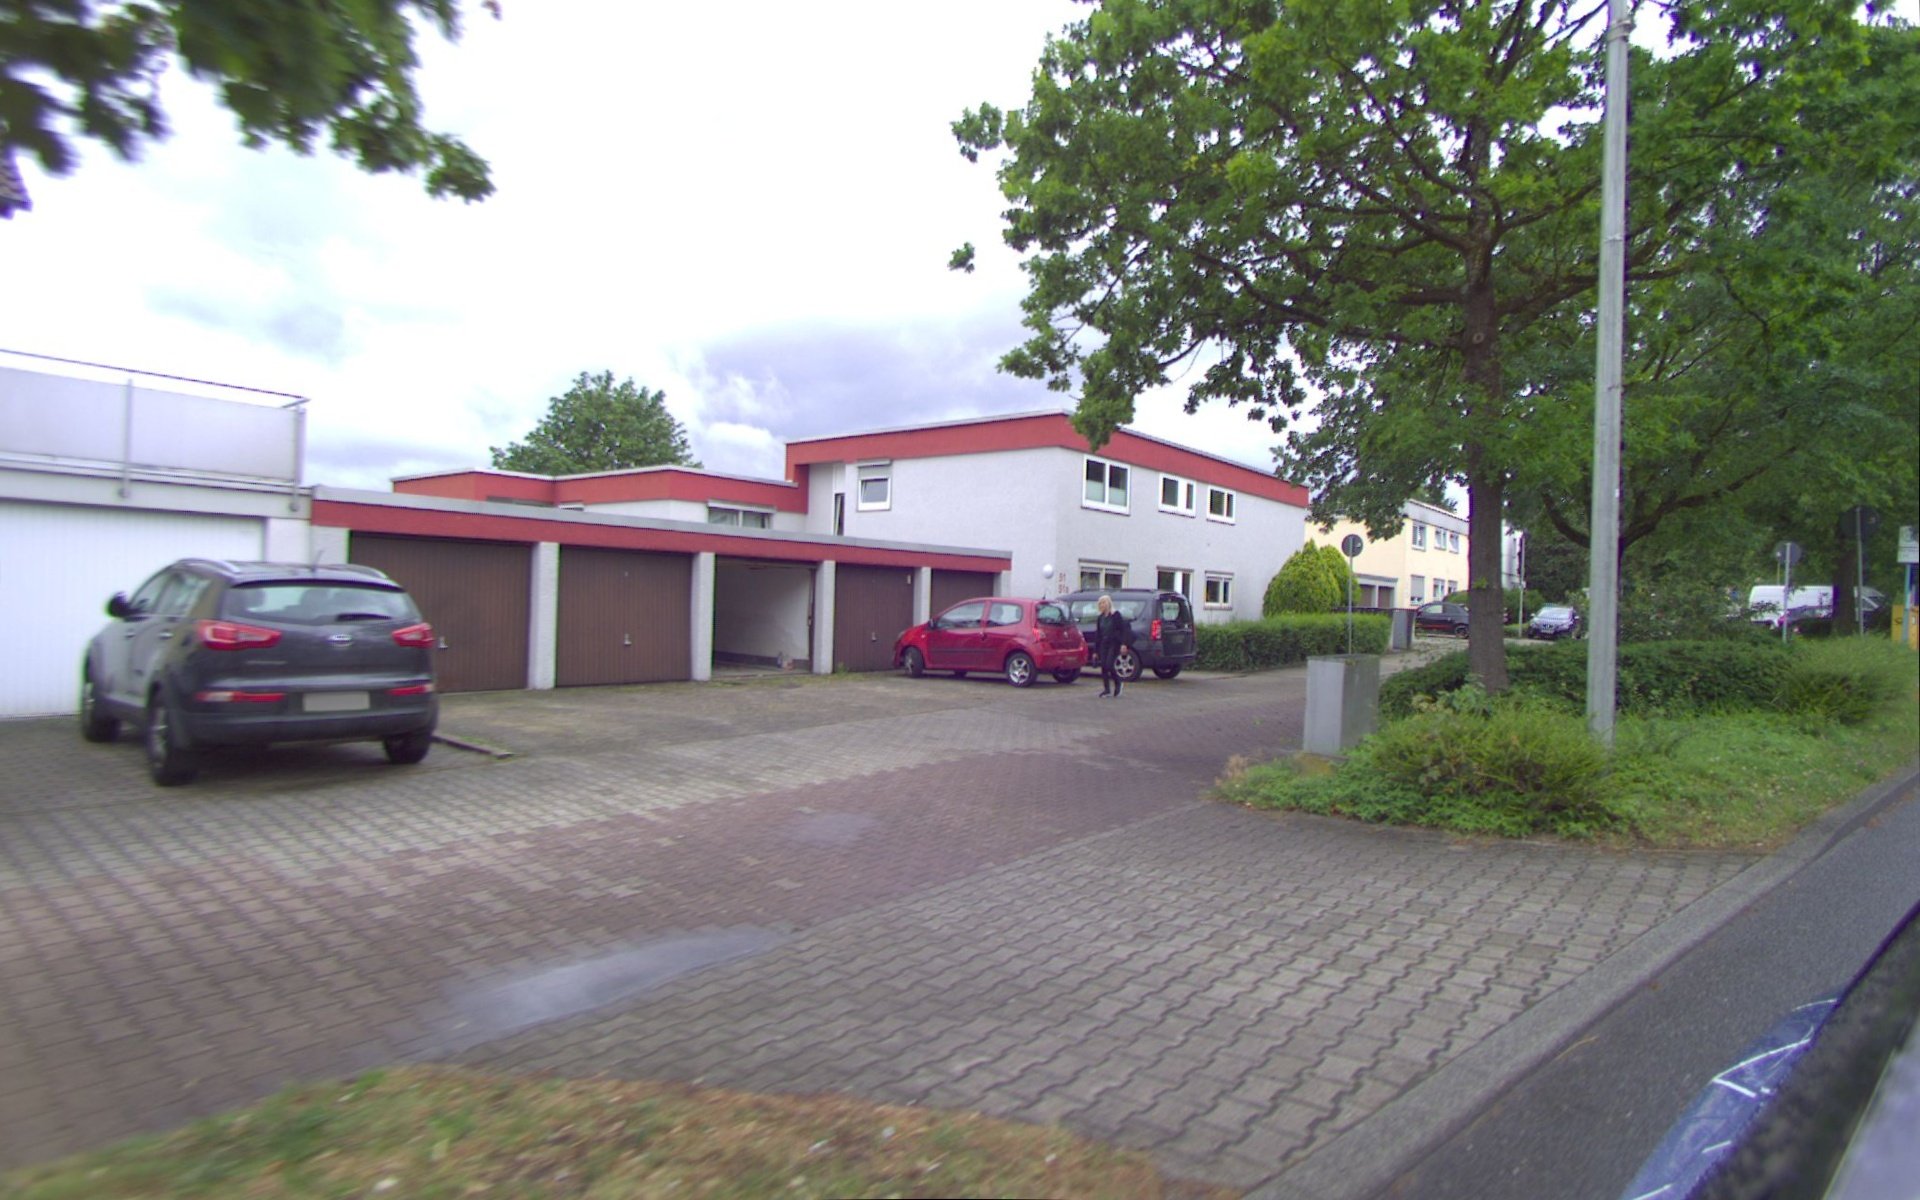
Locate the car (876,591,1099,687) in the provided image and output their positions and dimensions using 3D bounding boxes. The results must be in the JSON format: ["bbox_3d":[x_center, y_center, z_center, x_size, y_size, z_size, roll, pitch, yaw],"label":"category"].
[{"bbox_3d":[0.430,0.602,17.886,3.685,1.460,1.683,2,1,38],"label":"car"}]

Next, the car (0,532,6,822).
[{"bbox_3d":[-7.784,0.483,6.335,4.161,1.693,1.701,-1,-1,33],"label":"car"}]

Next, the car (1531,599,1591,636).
[{"bbox_3d":[26.788,0.746,45.041,1.685,1.529,3.770,1,0,40],"label":"car"}]

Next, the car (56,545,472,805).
[{"bbox_3d":[-6.130,0.442,8.728,4.175,1.692,1.962,2,1,41],"label":"car"}]

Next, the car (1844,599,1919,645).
[{"bbox_3d":[32.869,0.754,34.540,1.724,1.504,3.664,1,1,-26],"label":"car"}]

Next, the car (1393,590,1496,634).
[{"bbox_3d":[20.579,0.482,43.031,3.604,1.551,1.739,5,3,37],"label":"car"}]

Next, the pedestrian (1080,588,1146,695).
[{"bbox_3d":[2.378,0.617,15.669,0.662,1.577,0.832,3,1,34],"label":"pedestrian"}]

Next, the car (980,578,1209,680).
[{"bbox_3d":[2.548,0.474,19.538,3.979,1.742,1.898,2,1,38],"label":"car"}]

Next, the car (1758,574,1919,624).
[{"bbox_3d":[39.266,-0.091,44.836,1.959,2.038,5.850,1,1,-26],"label":"car"}]
